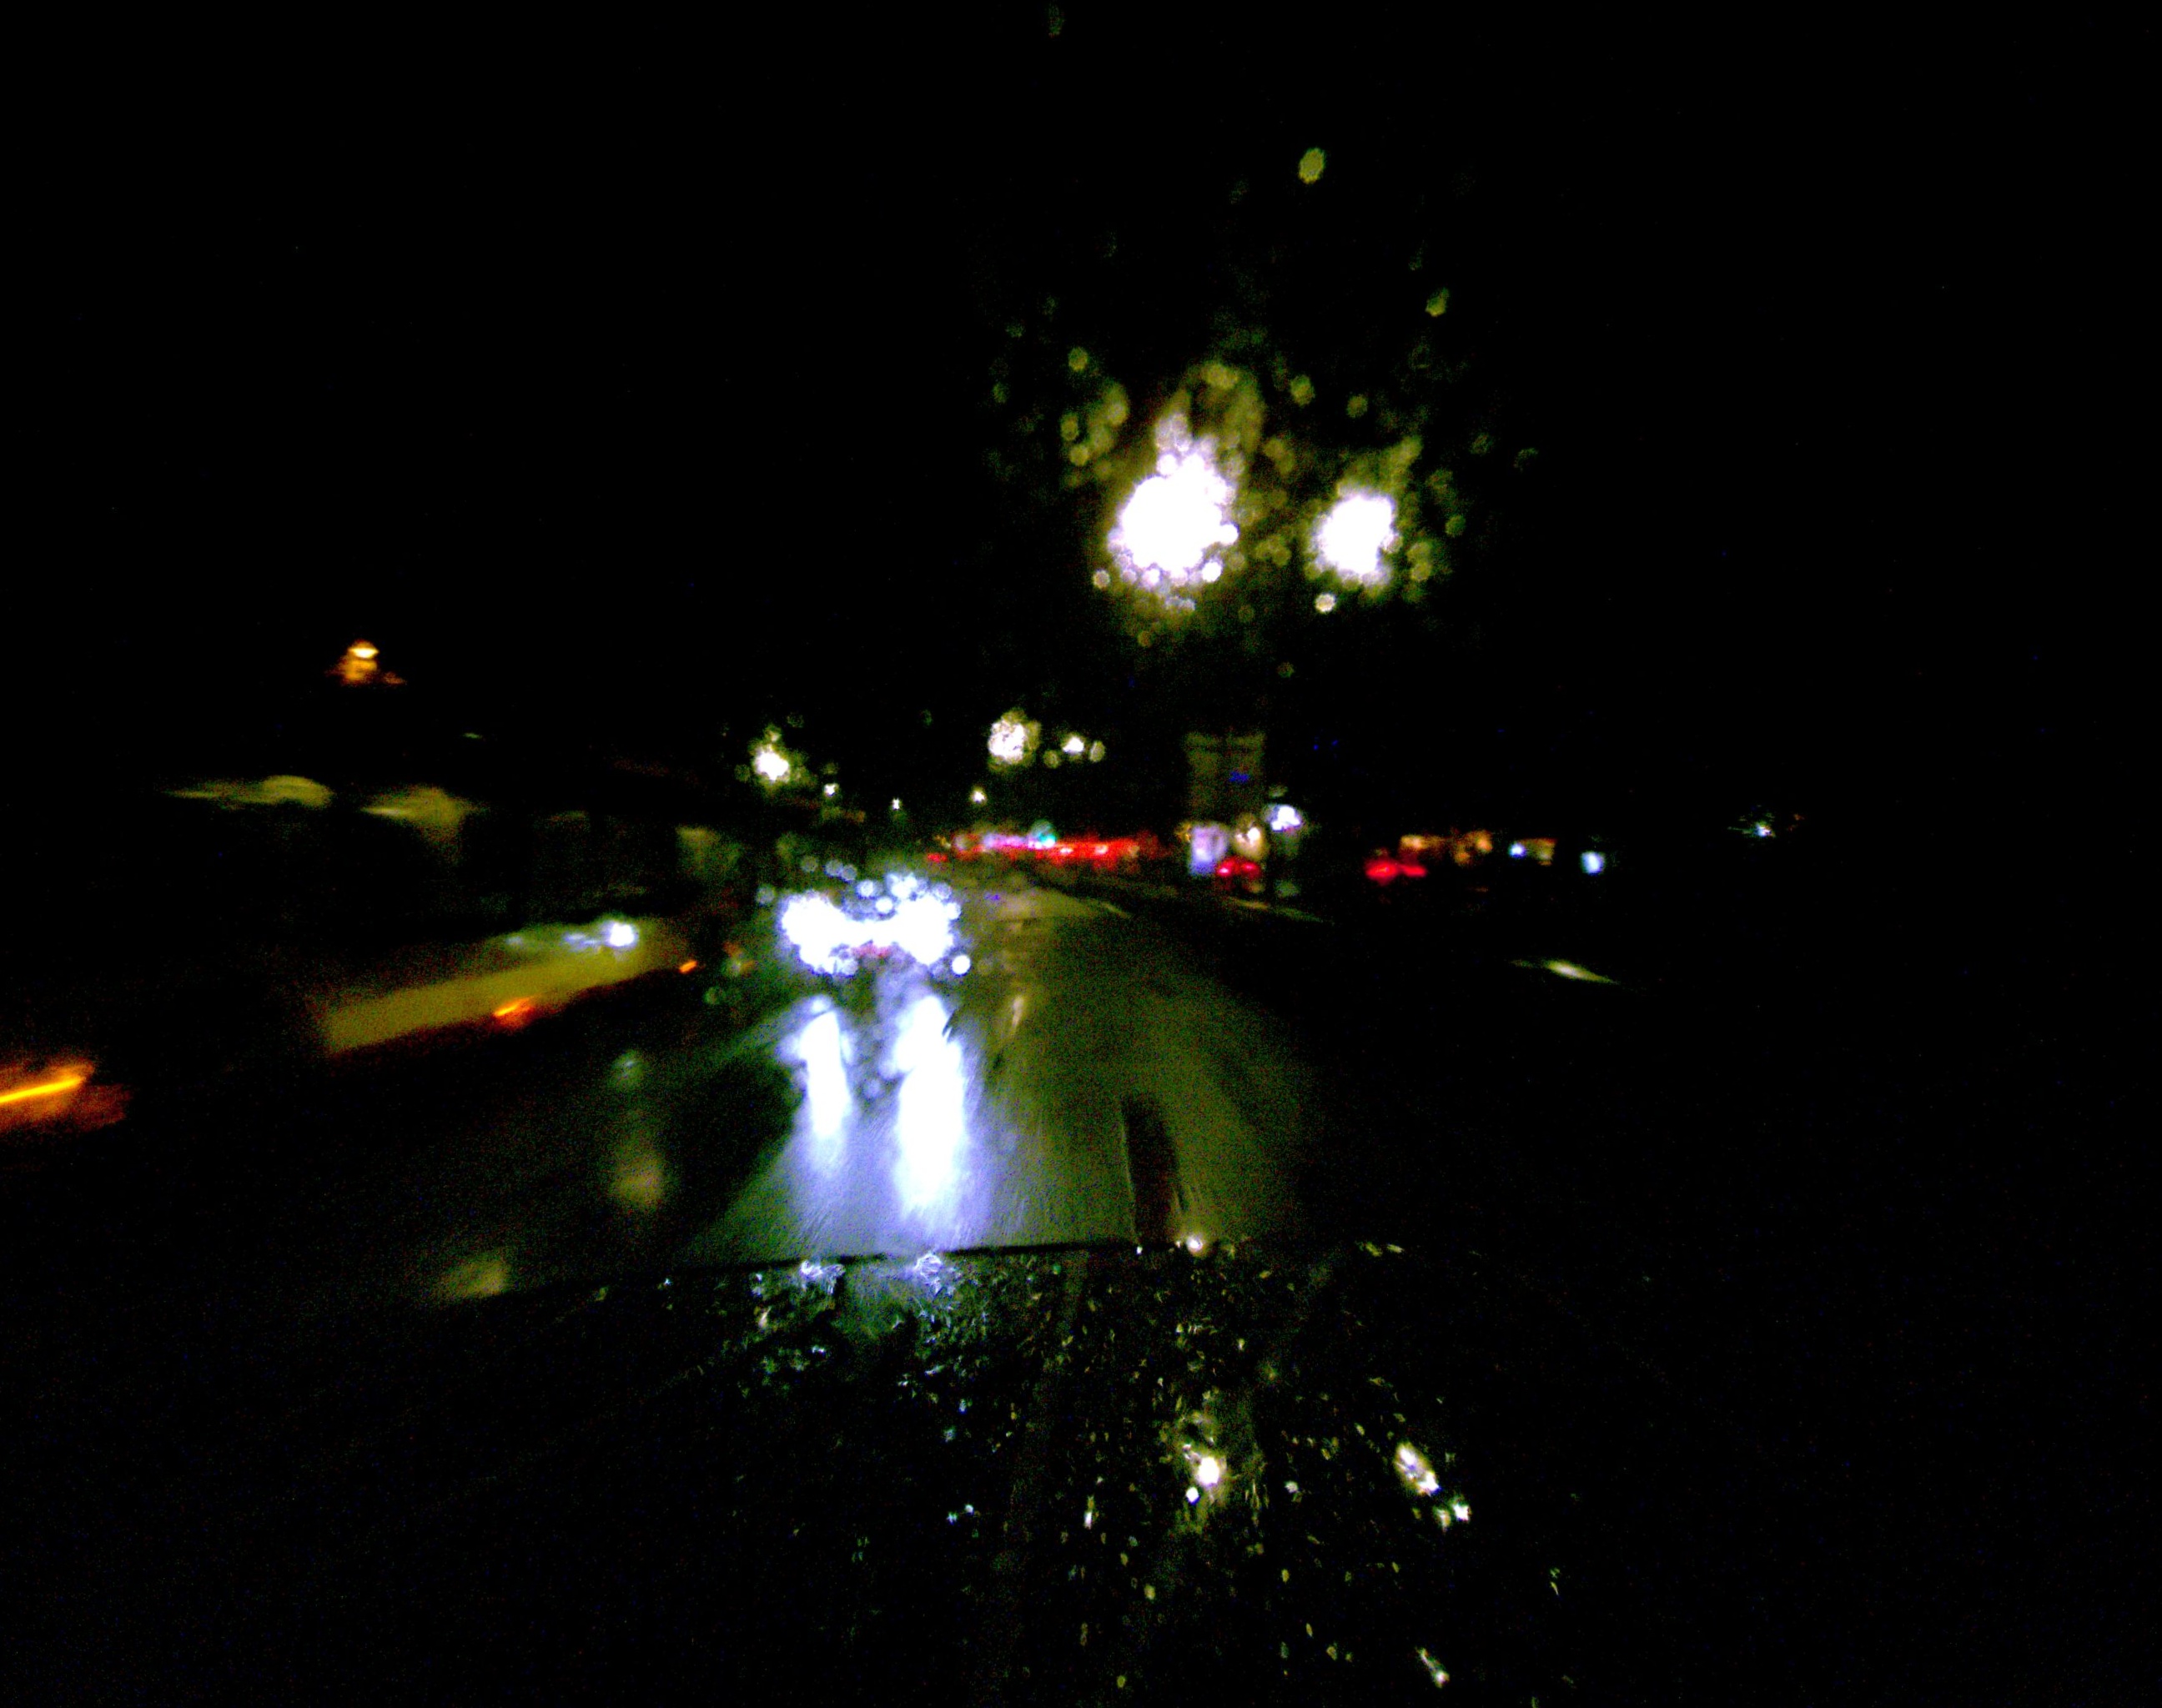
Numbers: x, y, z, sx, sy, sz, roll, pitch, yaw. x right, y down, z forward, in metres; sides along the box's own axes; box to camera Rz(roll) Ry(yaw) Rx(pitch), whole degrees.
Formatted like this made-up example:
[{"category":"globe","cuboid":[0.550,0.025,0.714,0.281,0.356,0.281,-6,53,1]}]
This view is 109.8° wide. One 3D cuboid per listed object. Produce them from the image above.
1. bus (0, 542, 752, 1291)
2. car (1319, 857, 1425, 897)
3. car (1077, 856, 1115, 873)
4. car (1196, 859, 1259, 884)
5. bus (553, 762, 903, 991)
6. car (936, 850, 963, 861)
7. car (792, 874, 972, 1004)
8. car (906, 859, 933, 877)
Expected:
[{"category":"bus","cuboid":[-6.101,0.305,6.056,2.741,3.257,9.699,-1,0,-1]},{"category":"car","cuboid":[11.350,0.857,30.053,1.901,1.381,4.609,-1,0,-8]},{"category":"car","cuboid":[1.240,0.947,66.196,1.902,1.381,4.834,-1,0,-16]},{"category":"car","cuboid":[8.487,0.991,44.516,1.901,1.381,4.836,-1,0,-12]},{"category":"bus","cuboid":[-6.207,0.349,15.772,2.741,3.219,9.699,-1,0,-1]},{"category":"car","cuboid":[-17.309,0.205,99.853,1.904,1.381,4.830,-1,0,-30]},{"category":"car","cuboid":[-2.837,1.134,11.772,1.725,1.478,4.162,-4,-1,-2]},{"category":"car","cuboid":[-13.667,1.167,64.109,1.758,1.438,3.967,0,0,-19]}]
